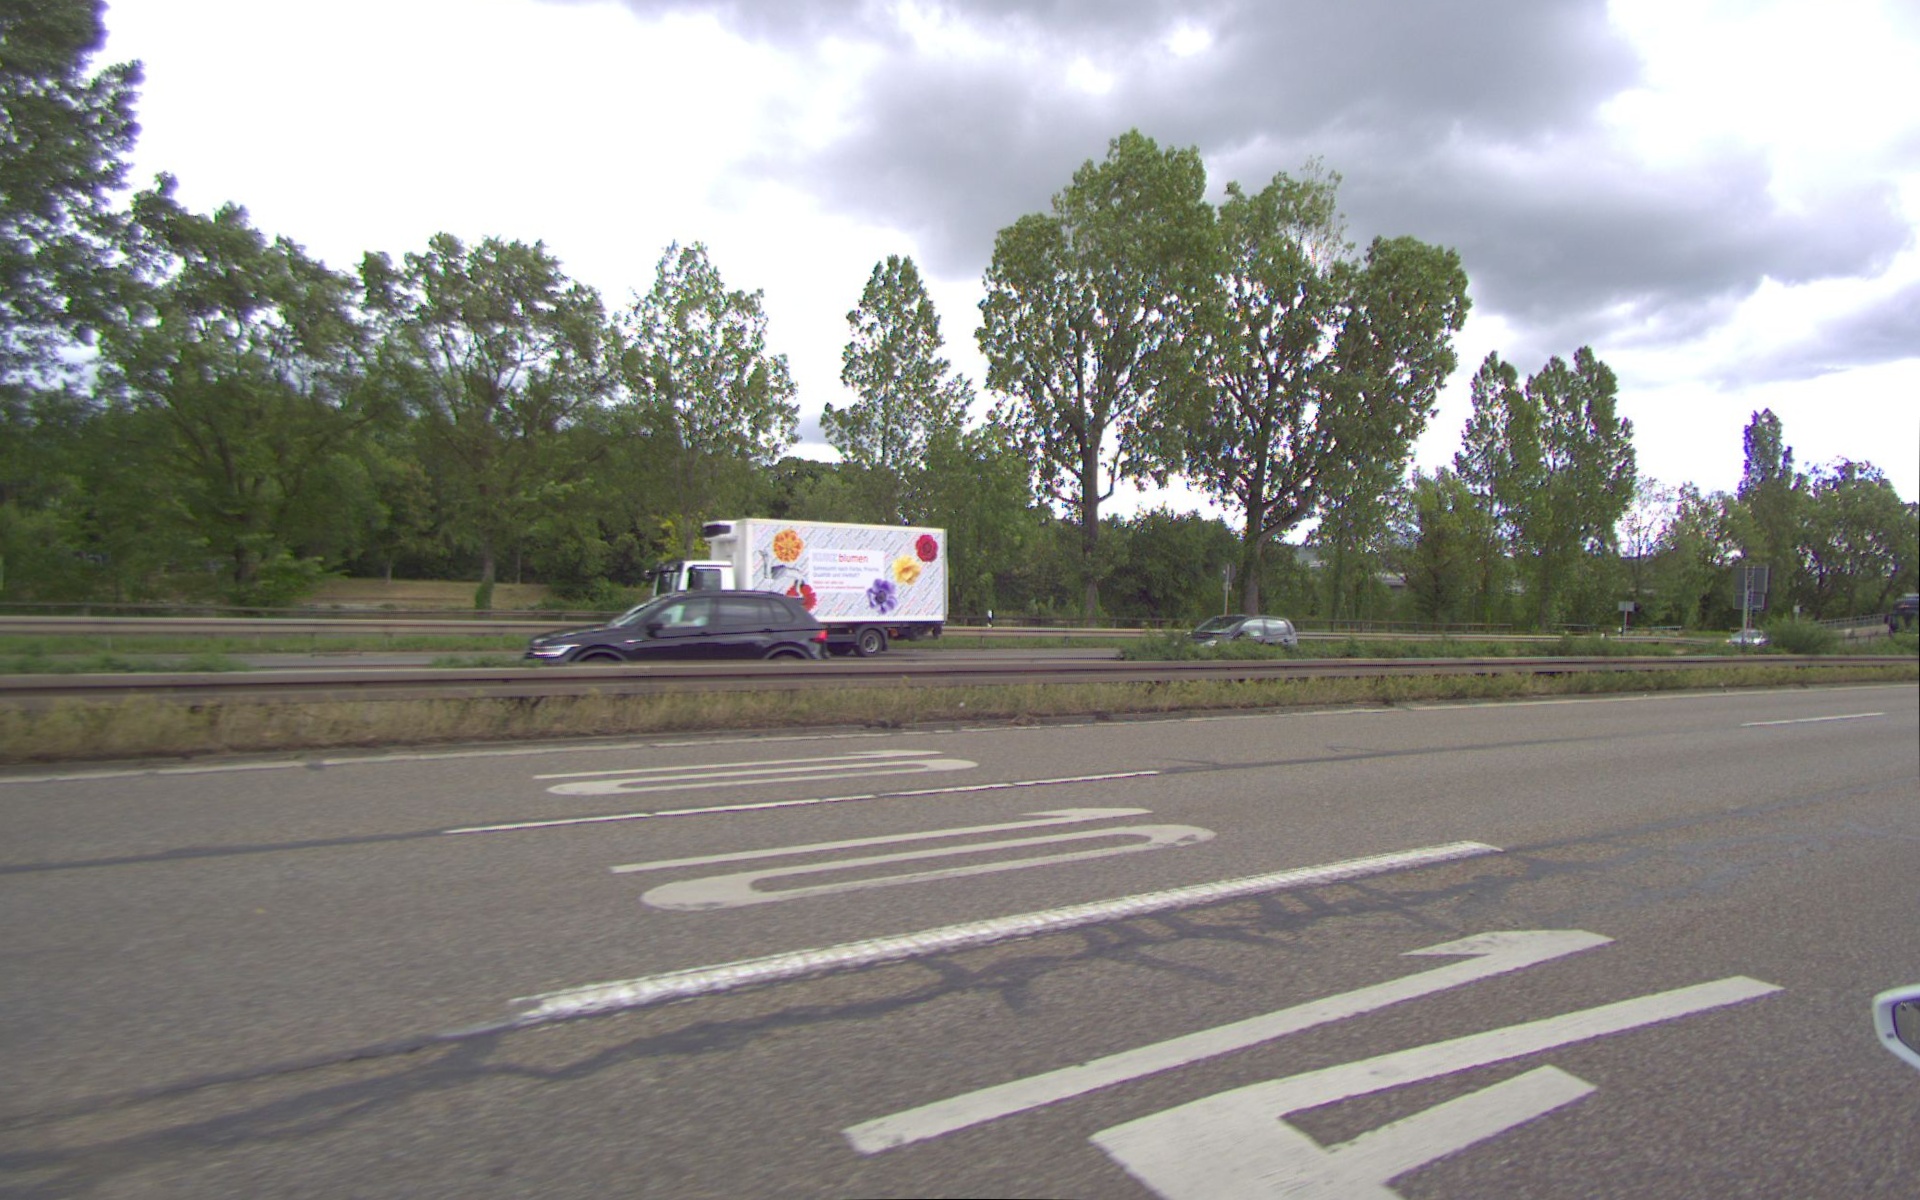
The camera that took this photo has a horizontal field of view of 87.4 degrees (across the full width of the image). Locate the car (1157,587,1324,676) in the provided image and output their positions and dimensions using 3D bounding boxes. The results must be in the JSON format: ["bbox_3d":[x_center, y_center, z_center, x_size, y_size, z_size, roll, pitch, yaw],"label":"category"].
[{"bbox_3d":[7.242,0.774,25.852,3.958,2.041,1.981,1,2,-34],"label":"car"}]

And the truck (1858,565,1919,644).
[{"bbox_3d":[59.330,0.298,62.506,6.142,4.735,3.444,2,1,-32],"label":"truck"}]

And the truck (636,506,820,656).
[{"bbox_3d":[-6.266,-0.506,27.036,3.959,3.692,2.965,1,3,-34],"label":"truck"}]

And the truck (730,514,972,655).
[{"bbox_3d":[-3.113,-0.427,29.213,6.272,3.693,2.963,1,2,-34],"label":"truck"}]

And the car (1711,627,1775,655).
[{"bbox_3d":[52.415,2.749,67.240,4.556,1.666,1.981,1,2,-34],"label":"car"}]

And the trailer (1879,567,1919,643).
[{"bbox_3d":[66.081,0.504,66.768,14.618,4.735,3.444,2,1,-32],"label":"trailer"}]

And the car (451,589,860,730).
[{"bbox_3d":[-4.324,0.803,14.726,5.464,1.753,1.836,1,-1,-32],"label":"car"}]
